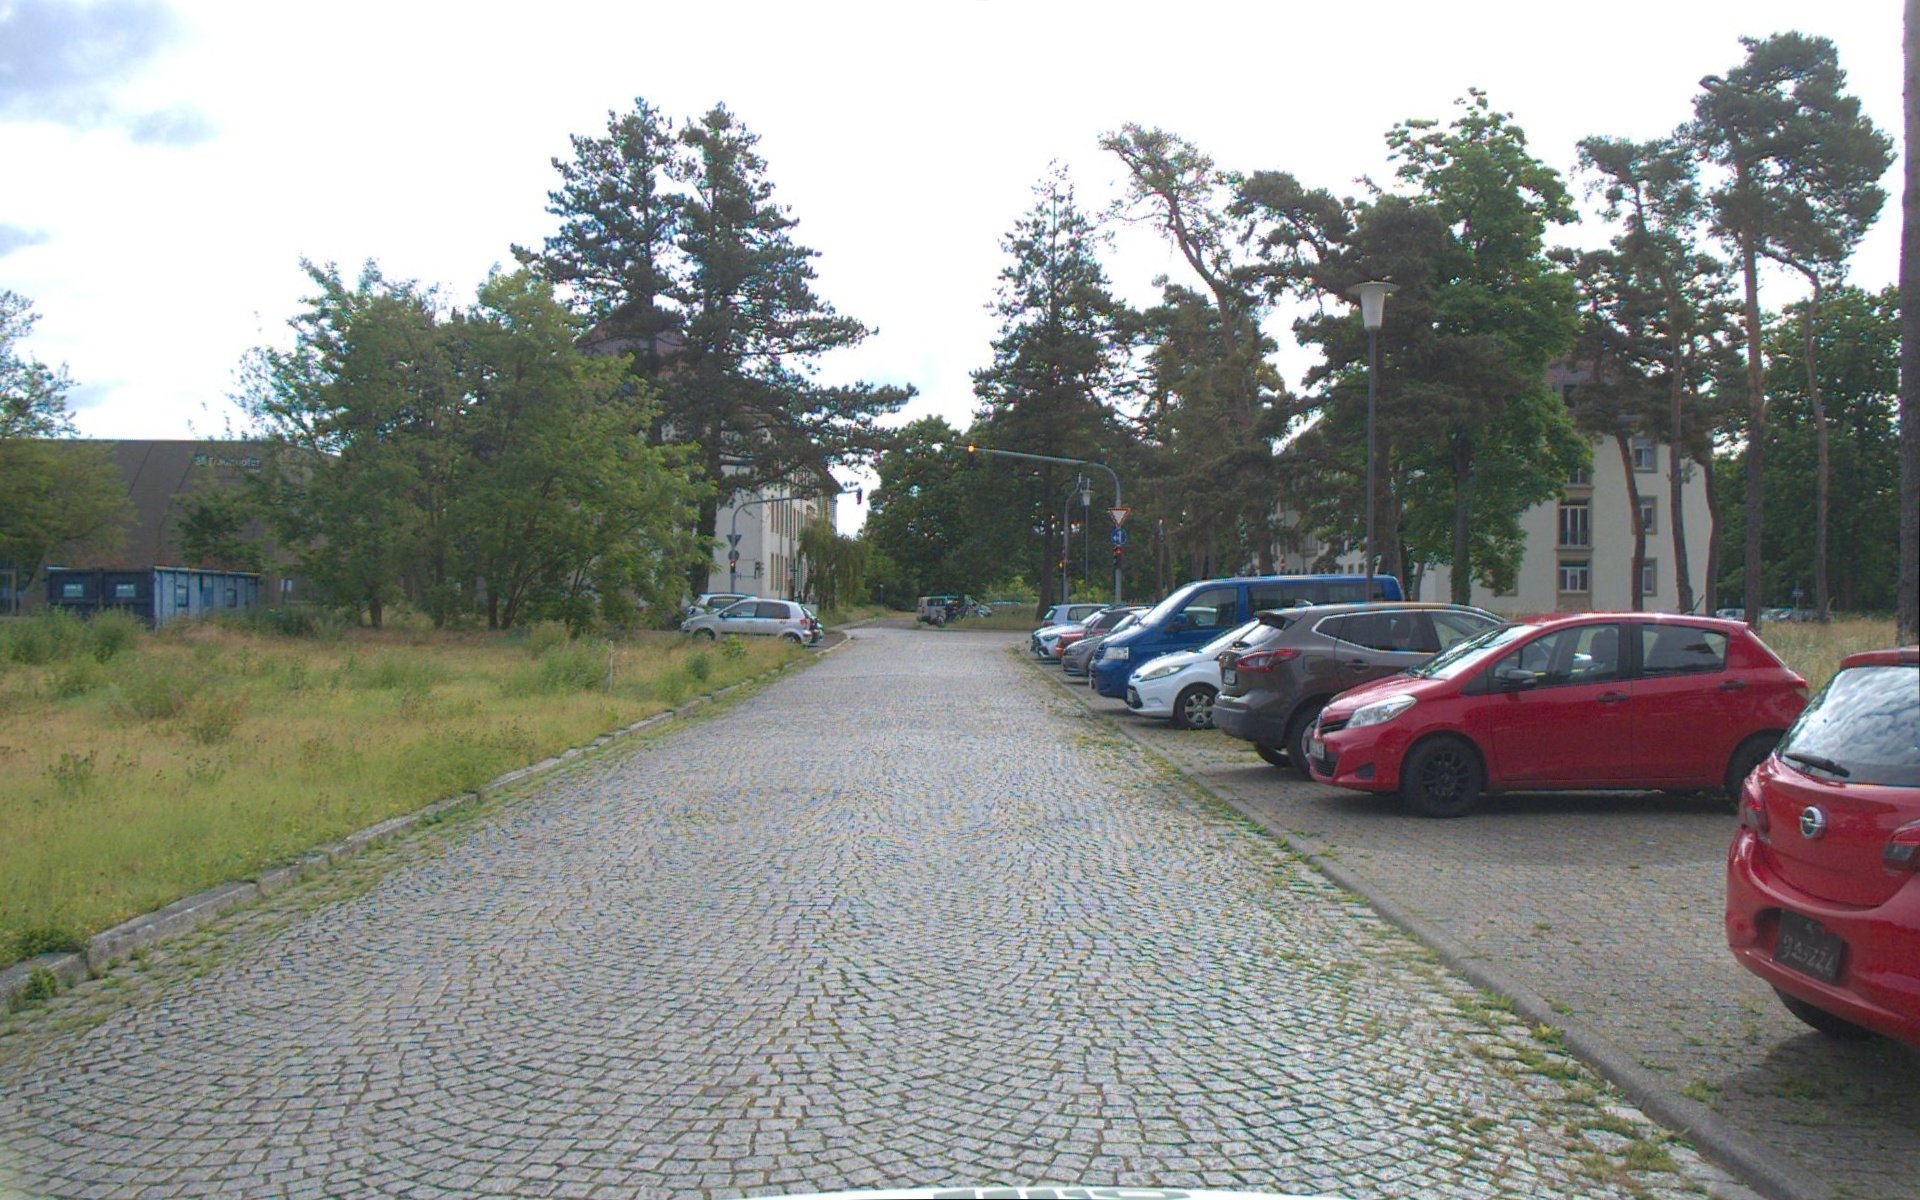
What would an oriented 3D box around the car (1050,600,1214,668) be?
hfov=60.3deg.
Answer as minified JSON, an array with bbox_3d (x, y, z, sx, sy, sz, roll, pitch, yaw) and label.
[{"bbox_3d":[3.964,0.778,38.436,3.598,1.475,1.523,-1,0,-3],"label":"car"}]

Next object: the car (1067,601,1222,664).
[{"bbox_3d":[4.508,0.791,40.730,3.598,1.475,1.523,-1,0,-3],"label":"car"}]

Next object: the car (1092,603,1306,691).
[{"bbox_3d":[4.284,0.833,29.968,3.598,1.475,1.523,-1,0,-3],"label":"car"}]

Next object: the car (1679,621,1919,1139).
[{"bbox_3d":[4.651,0.802,5.486,3.748,1.486,1.779,-1,0,-2],"label":"car"}]

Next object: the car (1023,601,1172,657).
[{"bbox_3d":[3.791,0.802,45.825,3.891,1.446,1.618,-1,0,-5],"label":"car"}]

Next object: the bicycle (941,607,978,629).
[{"bbox_3d":[-0.013,1.037,97.334,2.095,1.236,0.621,1,0,-5],"label":"bicycle"}]

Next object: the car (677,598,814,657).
[{"bbox_3d":[-6.092,0.775,47.230,3.746,1.600,1.563,-1,0,-4],"label":"car"}]

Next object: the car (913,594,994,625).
[{"bbox_3d":[-0.493,0.651,115.238,5.346,2.049,2.263,1,0,-10],"label":"car"}]

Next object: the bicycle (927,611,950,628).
[{"bbox_3d":[-1.235,1.102,93.243,0.613,0.961,1.647,1,0,-28],"label":"bicycle"}]

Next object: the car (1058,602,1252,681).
[{"bbox_3d":[3.829,0.803,32.739,3.598,1.475,1.523,-1,0,-3],"label":"car"}]

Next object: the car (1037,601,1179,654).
[{"bbox_3d":[4.312,0.792,48.485,3.891,1.446,1.618,-1,0,-5],"label":"car"}]

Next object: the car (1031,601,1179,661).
[{"bbox_3d":[3.748,0.790,42.969,3.600,1.446,1.522,-1,0,-5],"label":"car"}]

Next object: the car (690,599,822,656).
[{"bbox_3d":[-6.086,0.819,49.647,3.744,1.600,1.564,-1,0,-2],"label":"car"}]

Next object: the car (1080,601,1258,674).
[{"bbox_3d":[4.472,0.797,35.738,3.598,1.475,1.523,-1,0,-3],"label":"car"}]

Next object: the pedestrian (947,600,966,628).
[{"bbox_3d":[-0.211,0.825,97.675,1.013,1.642,0.756,1,0,-6],"label":"pedestrian"}]

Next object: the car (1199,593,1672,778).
[{"bbox_3d":[4.411,0.763,15.722,3.948,1.580,1.750,-1,0,-3],"label":"car"}]

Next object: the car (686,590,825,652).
[{"bbox_3d":[-6.471,0.659,52.629,4.176,1.873,1.743,-1,-1,-2],"label":"car"}]

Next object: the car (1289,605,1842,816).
[{"bbox_3d":[4.647,0.819,13.076,3.715,1.486,1.751,-1,0,-1],"label":"car"}]

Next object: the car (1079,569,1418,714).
[{"bbox_3d":[4.226,0.591,24.690,4.659,1.989,1.930,-1,0,-3],"label":"car"}]

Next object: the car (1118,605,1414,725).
[{"bbox_3d":[4.023,0.842,22.092,3.599,1.475,1.613,-1,0,-4],"label":"car"}]
